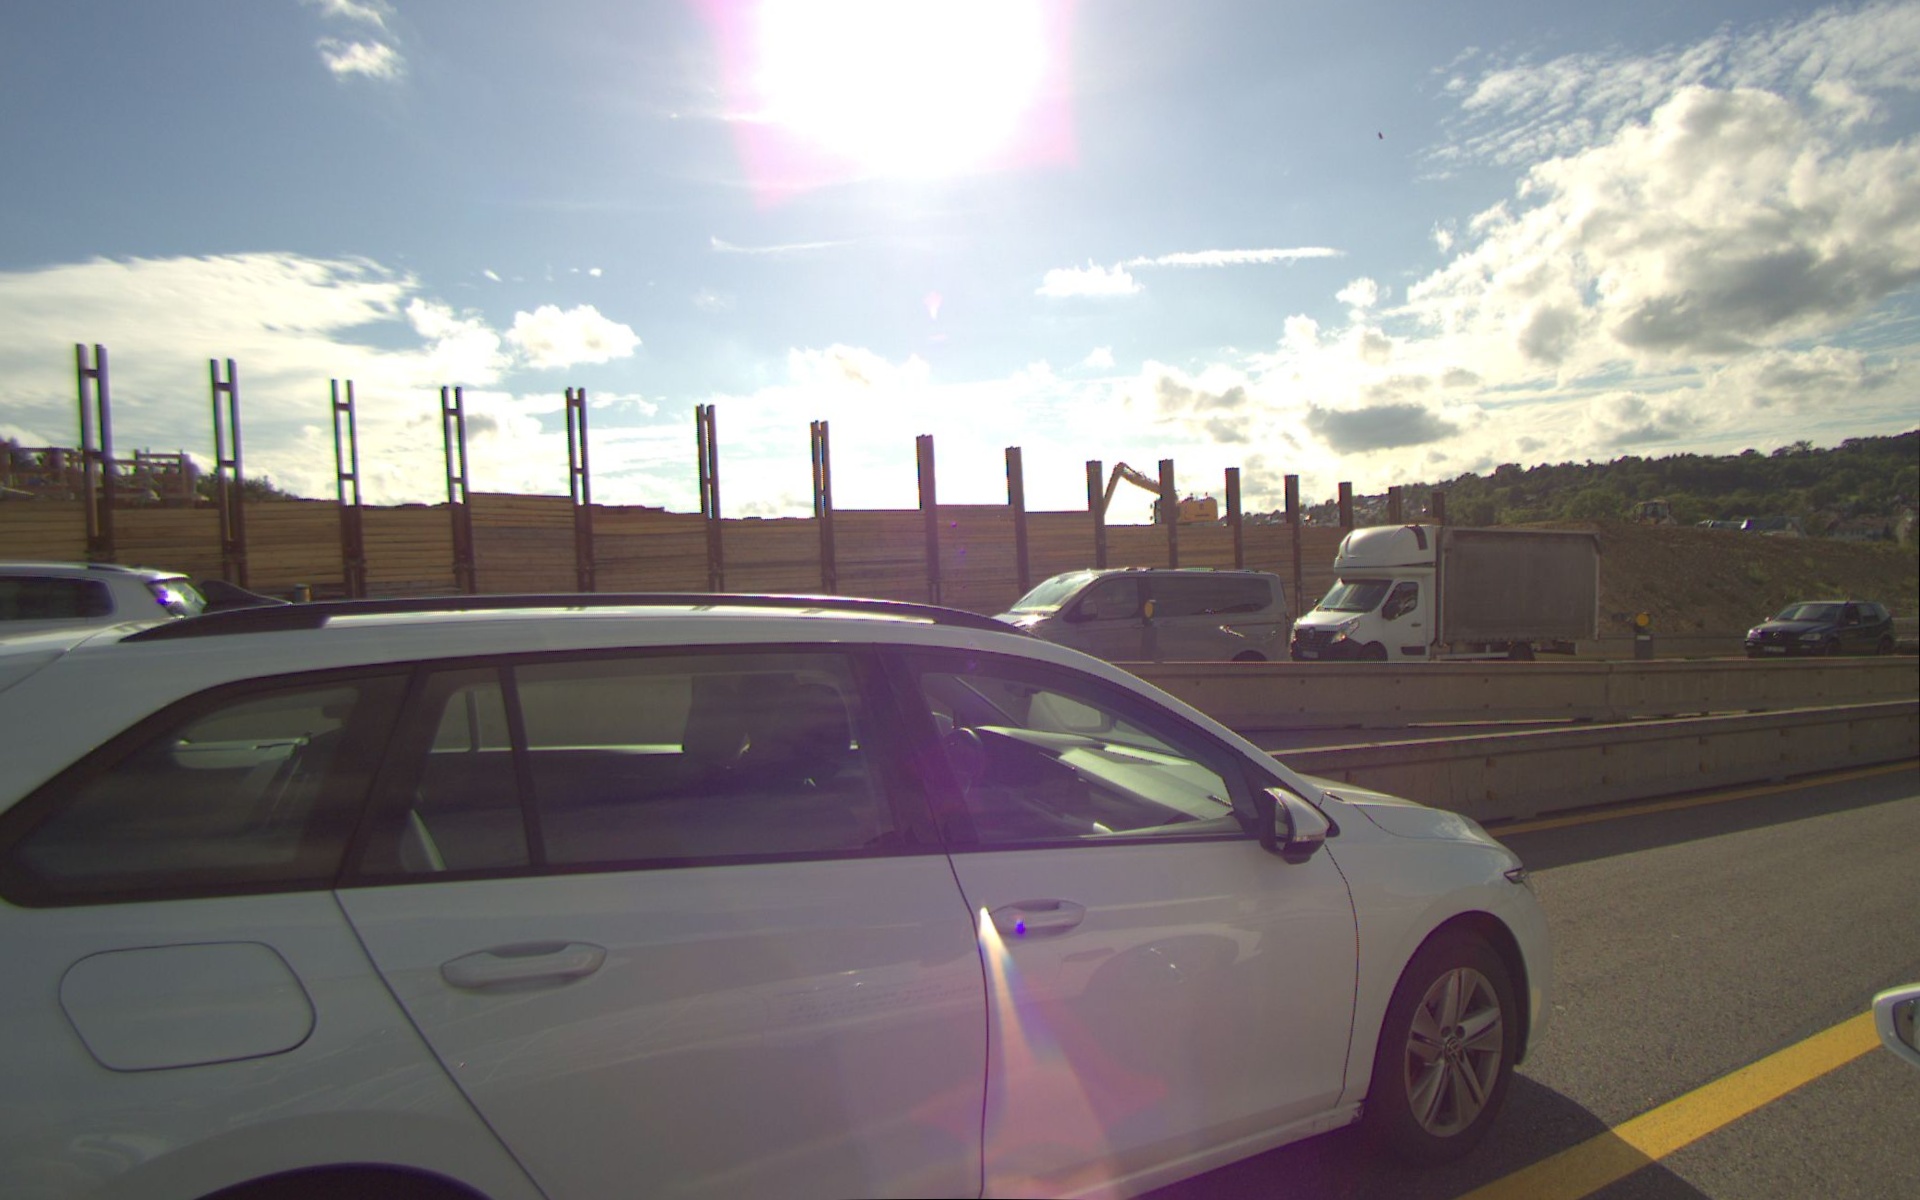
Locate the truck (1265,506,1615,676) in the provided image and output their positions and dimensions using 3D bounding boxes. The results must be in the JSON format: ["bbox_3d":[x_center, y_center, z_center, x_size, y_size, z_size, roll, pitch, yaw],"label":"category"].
[{"bbox_3d":[10.844,-0.083,22.685,7.425,3.355,2.696,2,0,-21],"label":"truck"}]

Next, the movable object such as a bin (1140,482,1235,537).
[{"bbox_3d":[16.608,-6.544,73.793,4.441,3.314,5.740,2,0,-19],"label":"movable object such as a bin"}]

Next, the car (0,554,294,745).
[{"bbox_3d":[-9.253,0.409,9.817,4.212,1.696,2.120,2,1,-24],"label":"car"}]

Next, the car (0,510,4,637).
[{"bbox_3d":[-15.279,-0.090,11.484,5.787,2.434,2.252,2,0,-25],"label":"car"}]

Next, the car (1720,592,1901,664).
[{"bbox_3d":[23.288,0.738,27.512,4.381,1.828,1.989,1,0,-23],"label":"car"}]

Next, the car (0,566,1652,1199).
[{"bbox_3d":[-0.251,0.767,2.670,4.464,1.511,1.761,2,-2,-31],"label":"car"}]

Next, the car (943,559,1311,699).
[{"bbox_3d":[2.459,0.404,14.774,4.960,1.789,2.120,2,1,-24],"label":"car"}]

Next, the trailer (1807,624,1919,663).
[{"bbox_3d":[29.992,1.239,30.377,10.180,0.952,2.346,0,1,-23],"label":"trailer"}]

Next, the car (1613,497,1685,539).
[{"bbox_3d":[46.510,-5.497,67.811,5.263,2.168,1.984,2,-5,-32],"label":"car"}]
